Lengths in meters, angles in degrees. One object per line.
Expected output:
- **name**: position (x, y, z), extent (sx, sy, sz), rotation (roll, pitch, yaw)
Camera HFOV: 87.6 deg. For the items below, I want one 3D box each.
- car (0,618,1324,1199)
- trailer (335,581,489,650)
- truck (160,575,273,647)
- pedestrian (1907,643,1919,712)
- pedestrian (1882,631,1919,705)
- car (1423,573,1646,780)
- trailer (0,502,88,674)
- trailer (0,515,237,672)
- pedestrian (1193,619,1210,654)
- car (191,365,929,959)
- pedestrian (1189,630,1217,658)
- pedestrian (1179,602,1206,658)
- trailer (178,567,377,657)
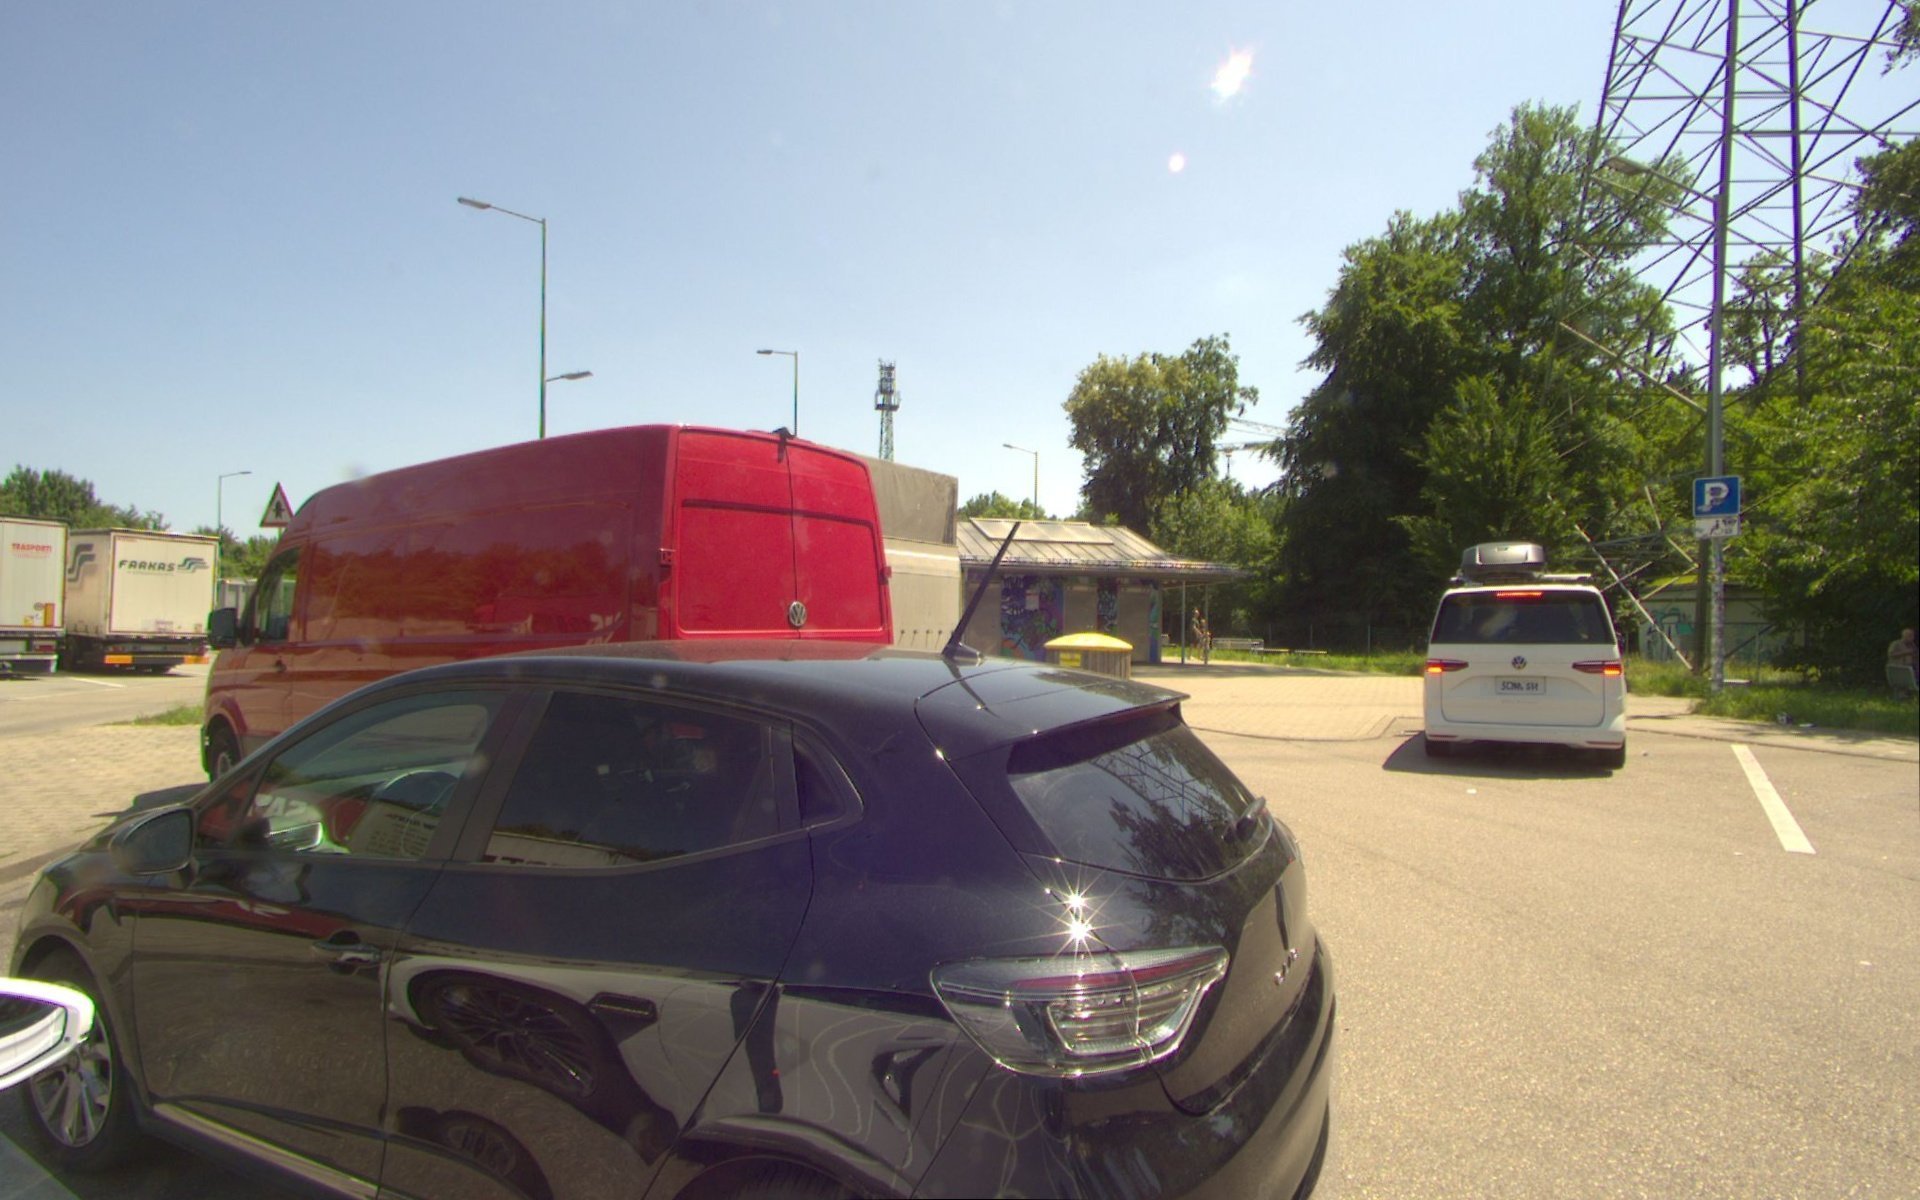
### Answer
- **car**: position (-1.043, 0.834, 2.897), extent (3.757, 1.501, 1.736), rotation (0, -1, 27)
- **trailer**: position (-36.029, 0.918, 65.425), extent (13.530, 4.101, 2.834), rotation (1, -2, 34)
- **truck**: position (-37.674, 0.571, 50.731), extent (5.405, 3.407, 2.847), rotation (1, -2, 34)
- **pedestrian**: position (17.209, 1.354, 17.467), extent (0.876, 1.192, 0.666), rotation (-1, -2, 32)
- **pedestrian**: position (18.572, 1.314, 19.595), extent (0.660, 1.422, 0.647), rotation (-1, -1, 33)
- **car**: position (6.542, 0.768, 11.833), extent (1.881, 1.937, 4.549), rotation (-1, -1, 26)
- **trailer**: position (-28.949, -0.368, 28.140), extent (13.523, 4.185, 2.835), rotation (1, -2, 33)
- **trailer**: position (-27.640, -0.190, 31.621), extent (13.523, 4.185, 2.835), rotation (1, -2, 33)
- **pedestrian**: position (10.967, 1.654, 45.482), extent (0.633, 1.547, 0.565), rotation (0, -1, -5)
- **car**: position (-3.335, 0.310, 7.349), extent (6.310, 2.731, 2.060), rotation (0, -1, 37)
- **pedestrian**: position (8.629, 1.564, 35.596), extent (0.763, 0.960, 0.646), rotation (0, -1, -9)
- **pedestrian**: position (8.555, 1.103, 36.817), extent (0.763, 2.067, 0.646), rotation (0, -1, -9)
- **trailer**: position (-32.366, 0.487, 47.132), extent (13.530, 3.764, 2.834), rotation (1, -2, 34)
